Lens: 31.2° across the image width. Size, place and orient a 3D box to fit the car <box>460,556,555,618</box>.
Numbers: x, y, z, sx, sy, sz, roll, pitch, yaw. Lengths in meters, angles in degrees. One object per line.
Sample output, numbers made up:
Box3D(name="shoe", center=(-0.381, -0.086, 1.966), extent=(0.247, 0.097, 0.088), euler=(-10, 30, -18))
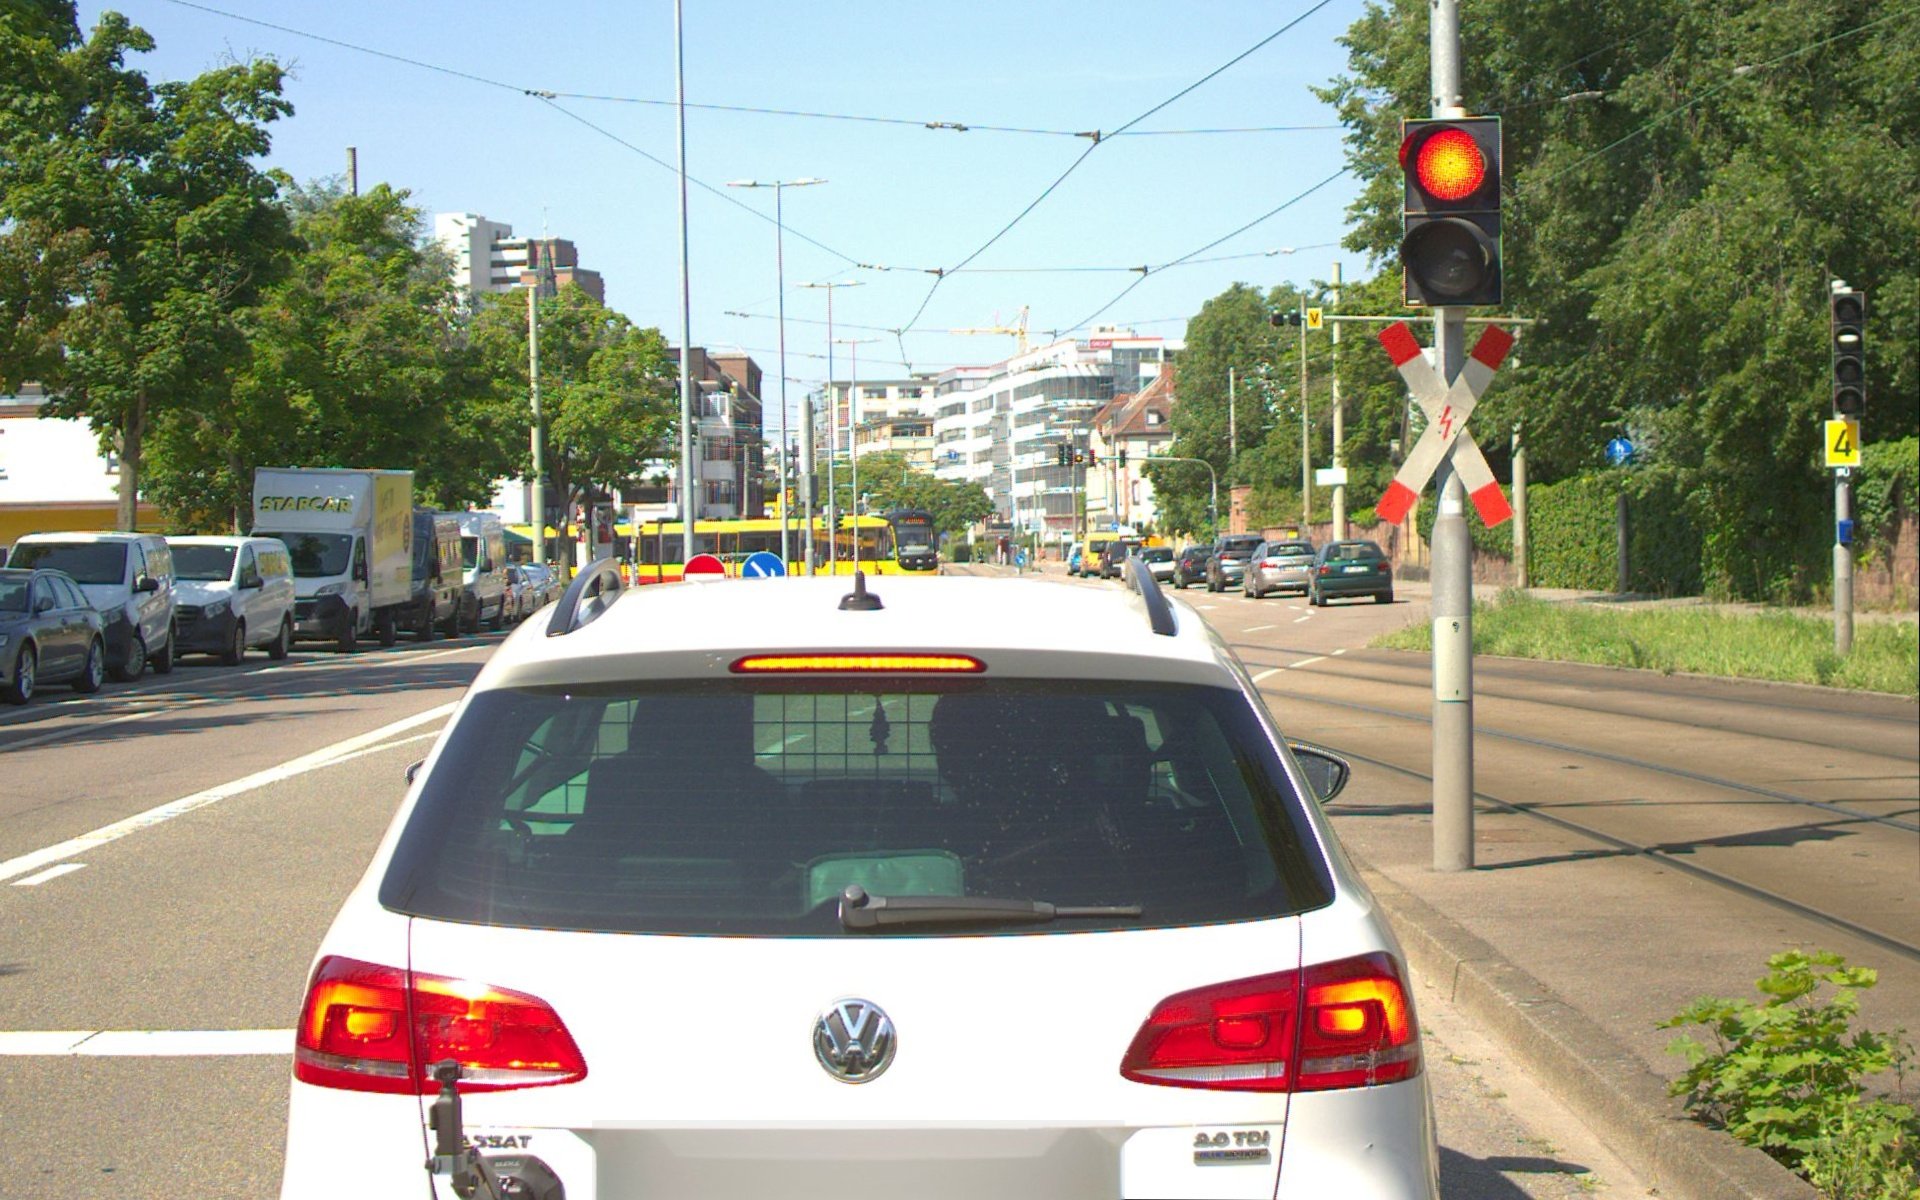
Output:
Box3D(name="car", center=(-11.216, -0.338, 85.509), extent=(1.843, 1.428, 4.038), euler=(-1, 1, -1))

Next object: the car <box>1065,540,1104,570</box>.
Box3D(name="car", center=(7.009, -2.531, 193.651), extent=(1.993, 1.590, 4.000), euler=(1, 0, 0))

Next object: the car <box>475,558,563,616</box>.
Box3D(name="car", center=(-11.689, -0.363, 91.321), extent=(1.843, 1.428, 4.038), euler=(-1, 1, -1))

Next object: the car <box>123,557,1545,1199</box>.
Box3D(name="car", center=(-0.210, 0.670, 6.267), extent=(1.768, 1.441, 3.913), euler=(1, 1, -1))

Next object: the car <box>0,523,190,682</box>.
Box3D(name="car", center=(-11.470, -0.015, 45.253), extent=(1.843, 1.930, 5.195), euler=(-1, 1, -4))

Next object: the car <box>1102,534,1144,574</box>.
Box3D(name="car", center=(7.508, -2.123, 158.759), extent=(1.691, 1.806, 3.454), euler=(1, 0, -1))

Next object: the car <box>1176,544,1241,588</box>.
Box3D(name="car", center=(8.364, -1.162, 116.054), extent=(1.745, 1.403, 3.913), euler=(1, 1, -2))

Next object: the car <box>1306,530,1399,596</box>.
Box3D(name="car", center=(8.513, -0.823, 74.779), extent=(1.746, 1.383, 3.913), euler=(1, 1, 3))

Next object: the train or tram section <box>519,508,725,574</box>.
Box3D(name="train or tram section", center=(-17.418, -3.033, 176.611), extent=(11.000, 3.241, 2.305), euler=(1, 0, 28))

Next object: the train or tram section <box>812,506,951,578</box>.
Box3D(name="train or tram section", center=(-3.785, -2.716, 161.806), extent=(2.300, 3.241, 11.277), euler=(1, 0, -24))

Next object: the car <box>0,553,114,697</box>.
Box3D(name="car", center=(-10.989, 0.257, 38.799), extent=(1.843, 1.511, 4.197), euler=(-1, 1, -1))

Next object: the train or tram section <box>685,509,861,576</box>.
Box3D(name="train or tram section", center=(-9.351, -2.861, 170.368), extent=(2.302, 3.241, 10.802), euler=(1, 0, -43))

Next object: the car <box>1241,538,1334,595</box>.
Box3D(name="car", center=(8.478, -0.898, 89.306), extent=(1.861, 1.412, 4.325), euler=(1, 1, -2))

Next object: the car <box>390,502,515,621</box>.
Box3D(name="car", center=(-11.157, -0.874, 75.994), extent=(1.843, 2.486, 5.857), euler=(-1, 1, 0))

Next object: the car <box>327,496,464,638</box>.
Box3D(name="car", center=(-11.144, -0.679, 68.165), extent=(1.843, 2.659, 5.003), euler=(-1, 1, 0))

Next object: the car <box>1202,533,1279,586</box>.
Box3D(name="car", center=(8.369, -1.222, 102.840), extent=(1.861, 1.508, 3.913), euler=(1, 1, -2))

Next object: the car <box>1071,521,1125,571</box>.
Box3D(name="car", center=(7.148, -2.773, 178.676), extent=(2.463, 2.490, 5.910), euler=(1, 0, -1))

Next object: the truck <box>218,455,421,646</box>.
Box3D(name="truck", center=(-11.144, -0.883, 60.397), extent=(2.356, 3.112, 6.892), euler=(-1, 1, -1))

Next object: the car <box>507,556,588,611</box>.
Box3D(name="car", center=(-11.572, -0.479, 96.651), extent=(1.780, 1.428, 4.038), euler=(-1, 1, -1))

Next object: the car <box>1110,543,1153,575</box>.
Box3D(name="car", center=(7.375, -1.772, 148.211), extent=(1.581, 1.341, 3.454), euler=(1, 0, -1))

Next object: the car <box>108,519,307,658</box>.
Box3D(name="car", center=(-11.322, -0.214, 52.038), extent=(1.843, 1.954, 5.134), euler=(-1, 1, 0))

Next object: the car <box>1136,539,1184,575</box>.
Box3D(name="car", center=(7.859, -1.685, 135.328), extent=(1.581, 1.341, 3.454), euler=(1, 0, -1))
